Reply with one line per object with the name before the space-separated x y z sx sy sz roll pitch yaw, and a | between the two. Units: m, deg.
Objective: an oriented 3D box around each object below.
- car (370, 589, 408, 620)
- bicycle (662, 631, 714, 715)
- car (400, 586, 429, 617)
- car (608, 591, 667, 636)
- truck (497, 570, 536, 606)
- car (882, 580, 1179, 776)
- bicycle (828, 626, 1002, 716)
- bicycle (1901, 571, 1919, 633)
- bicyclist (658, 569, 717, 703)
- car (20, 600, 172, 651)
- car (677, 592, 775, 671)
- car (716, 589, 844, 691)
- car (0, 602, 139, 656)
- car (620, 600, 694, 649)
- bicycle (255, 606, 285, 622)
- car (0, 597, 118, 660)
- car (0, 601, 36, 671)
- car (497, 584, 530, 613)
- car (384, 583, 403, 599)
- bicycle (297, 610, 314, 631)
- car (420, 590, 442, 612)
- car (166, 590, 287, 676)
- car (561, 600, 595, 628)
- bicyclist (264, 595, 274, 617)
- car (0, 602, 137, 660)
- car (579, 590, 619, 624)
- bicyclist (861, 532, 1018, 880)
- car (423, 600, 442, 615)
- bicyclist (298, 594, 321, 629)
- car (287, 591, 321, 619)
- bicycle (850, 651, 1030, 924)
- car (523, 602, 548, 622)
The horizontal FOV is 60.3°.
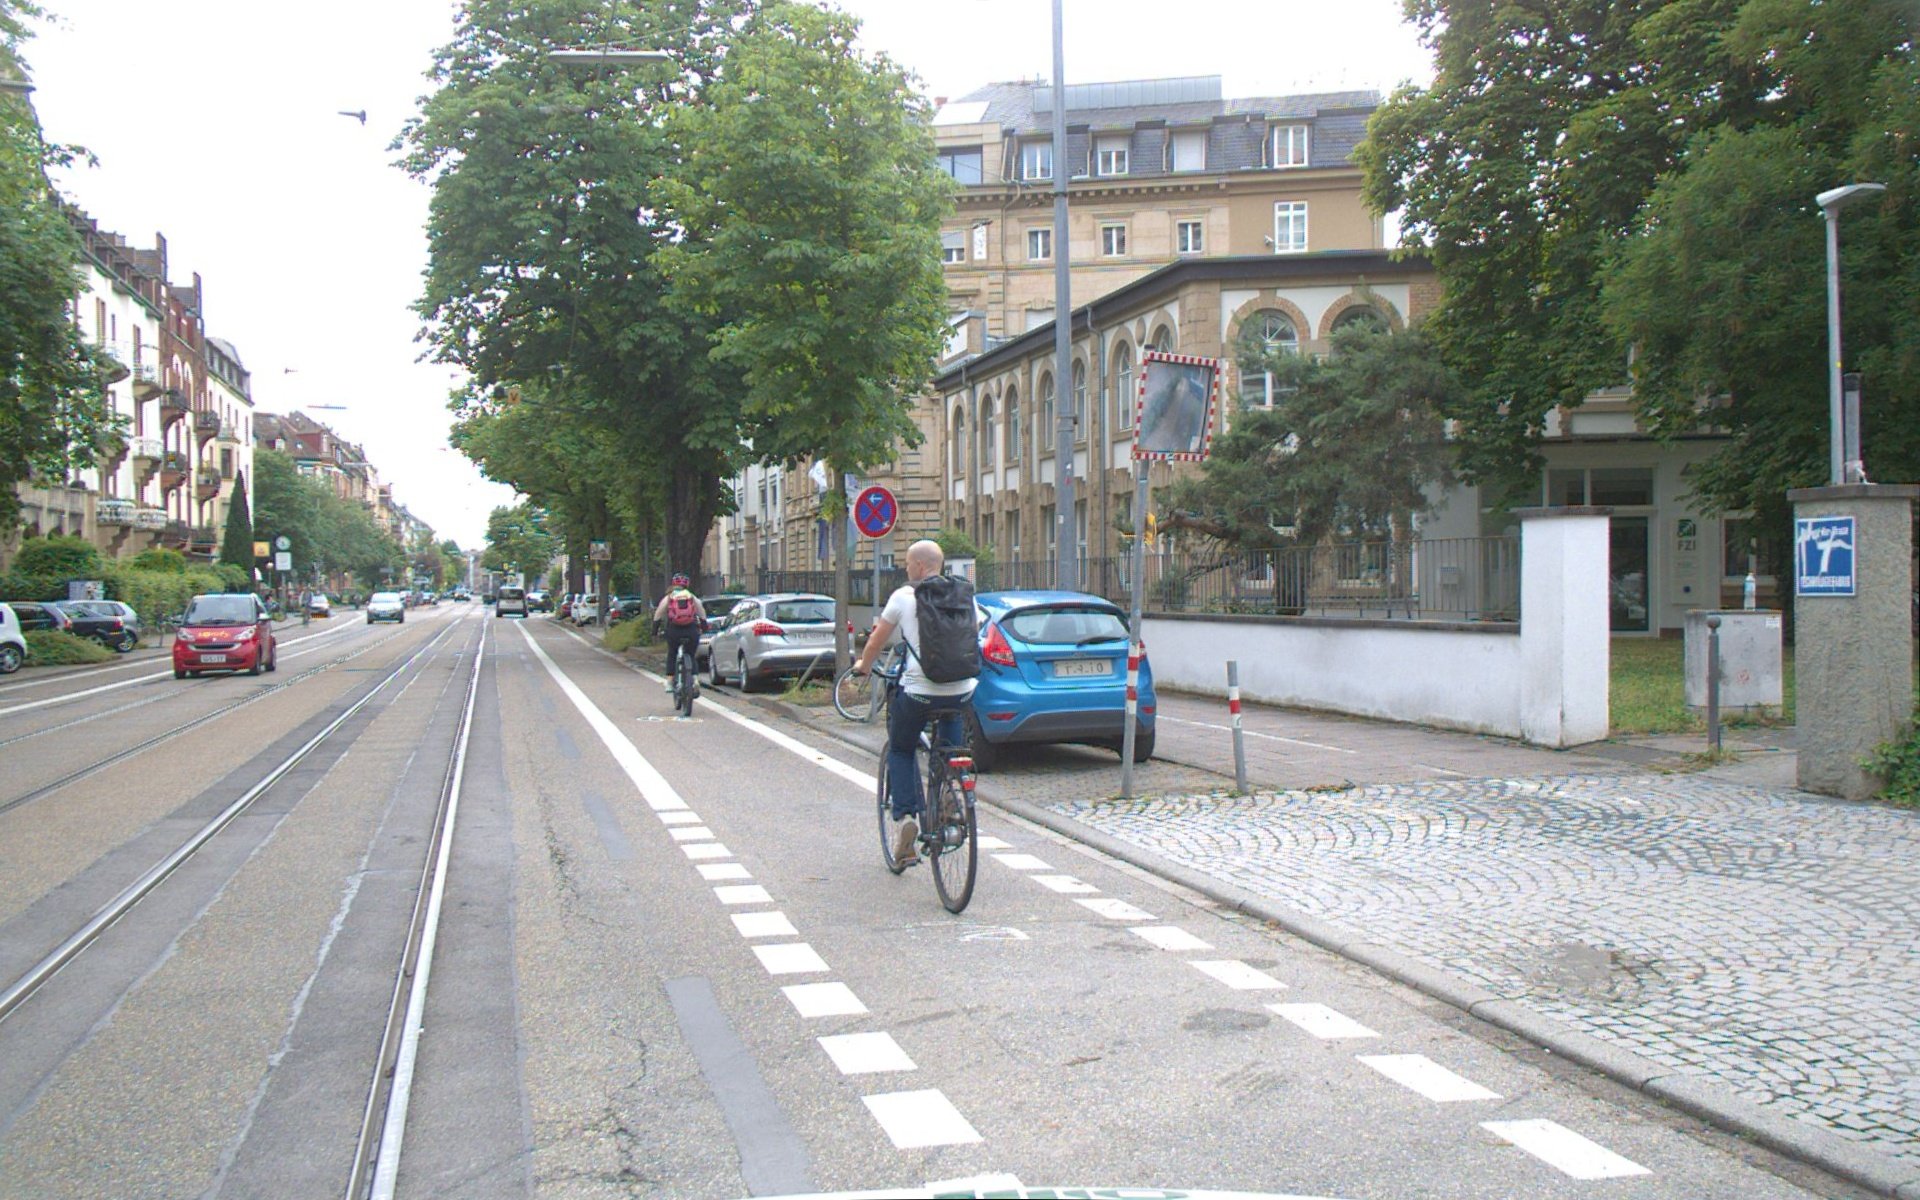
car | -28.326 0.220 81.975 1.715 1.454 3.977 -1 1 -19
bicycle | -3.484 0.902 21.075 0.481 0.997 2.049 0 -1 -14
car | -45.105 0.101 136.736 2.172 2.459 3.979 -1 1 -19
car | -10.733 0.421 54.867 1.761 1.423 3.781 -1 1 -14
truck | -52.974 -1.386 197.307 3.750 4.100 10.162 -1 1 -19
car | 0.509 0.598 14.922 1.647 1.486 3.417 -2 1 -16
bicycle | -0.523 0.819 19.499 1.982 0.973 0.531 -1 1 -20
bicycle | 18.255 0.029 31.005 0.604 1.139 2.223 -1 1 17
bicyclist | -3.455 0.441 20.920 0.647 1.638 0.916 -1 0 -15
car | -25.236 0.725 48.368 3.685 1.410 1.675 0 0 -40
car | -4.737 0.583 33.183 1.452 1.453 3.549 -1 1 -16
car | -2.919 0.582 26.327 1.452 1.507 3.549 0 0 -16
car | -24.669 0.770 45.257 3.685 1.410 1.675 0 0 -40
car | -8.645 0.663 46.965 1.841 1.273 3.986 -1 1 -14
bicycle | -36.541 0.760 87.572 1.426 0.814 0.432 -1 0 -24
car | -21.373 0.621 37.352 1.662 1.375 3.962 1 0 28
car | -20.436 0.718 32.260 1.662 1.375 3.962 1 0 28
car | -27.310 -0.090 101.214 1.781 1.738 3.686 0 0 -13
car | -75.409 -1.205 220.183 1.789 2.103 3.868 -1 1 -12
bicycle | -28.735 0.880 72.637 0.461 0.884 2.130 -1 1 -15
car | -57.241 0.056 179.023 2.169 2.295 3.983 -1 1 -16
car | -13.833 0.599 31.321 1.648 1.549 2.771 0 0 -14
car | -21.343 0.762 92.363 1.740 1.423 3.781 -1 1 -14
bicyclist | -36.578 0.310 87.549 0.505 1.189 0.435 0 0 -23
car | -23.369 0.777 42.536 3.685 1.410 1.675 0 0 -40
car | -15.951 0.299 73.046 1.638 1.423 3.648 -1 1 -14
bicyclist | -0.122 0.484 8.136 0.649 1.597 0.984 0 0 -9
car | -62.883 0.904 197.173 1.741 1.672 3.555 -1 1 -12
bicyclist | -28.619 0.498 72.775 0.829 1.526 1.023 -1 0 -15
car | -55.060 0.398 138.944 2.141 2.245 4.202 -1 1 -15
bicycle | -0.149 0.866 8.300 0.652 1.136 1.863 1 0 -8
car | -32.440 0.925 126.377 1.740 1.423 3.781 -1 1 -14
